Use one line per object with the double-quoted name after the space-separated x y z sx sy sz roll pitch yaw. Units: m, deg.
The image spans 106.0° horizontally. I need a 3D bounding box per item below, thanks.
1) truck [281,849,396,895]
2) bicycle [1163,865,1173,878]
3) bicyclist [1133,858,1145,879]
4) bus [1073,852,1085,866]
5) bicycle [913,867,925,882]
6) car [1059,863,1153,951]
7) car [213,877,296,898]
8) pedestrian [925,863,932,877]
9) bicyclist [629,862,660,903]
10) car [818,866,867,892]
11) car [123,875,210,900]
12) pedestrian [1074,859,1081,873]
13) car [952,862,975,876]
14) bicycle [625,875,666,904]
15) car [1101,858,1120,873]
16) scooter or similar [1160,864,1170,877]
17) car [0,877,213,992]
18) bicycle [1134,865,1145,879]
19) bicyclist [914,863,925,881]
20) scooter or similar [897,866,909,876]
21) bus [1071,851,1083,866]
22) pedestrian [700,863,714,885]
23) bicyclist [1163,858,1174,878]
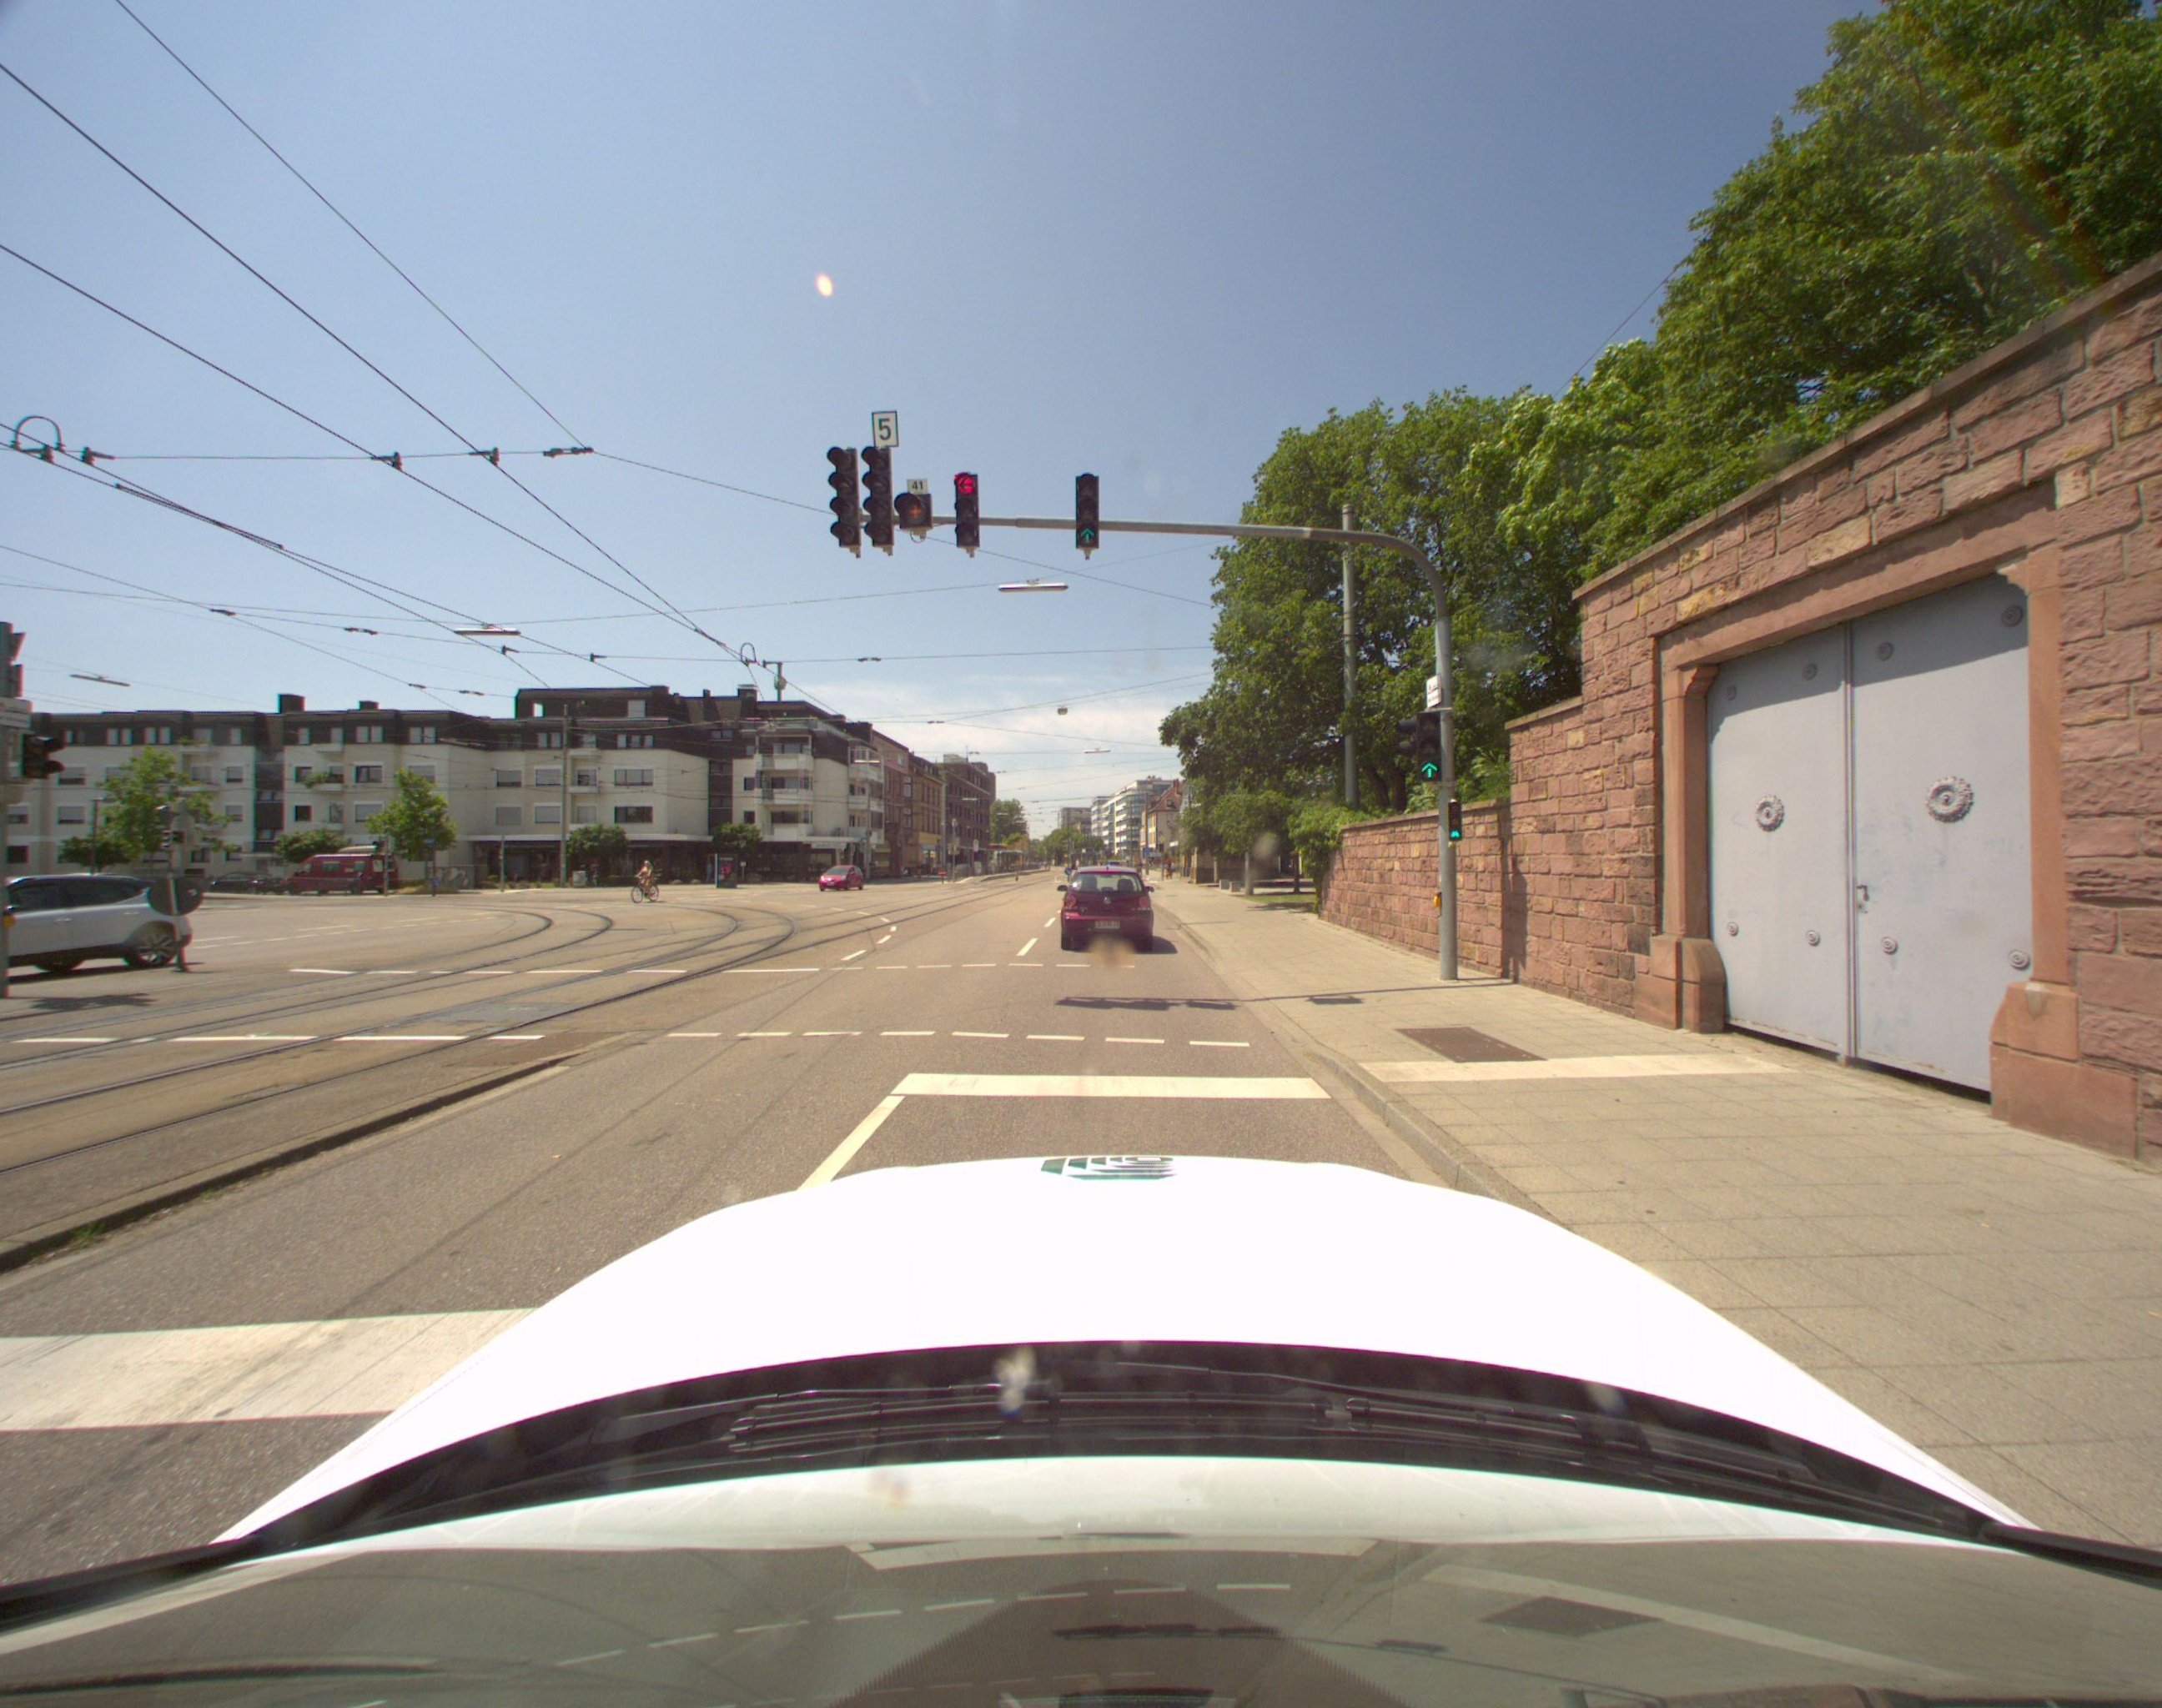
-44.968 1.079 49.377 5.006 2.698 2.188 -1 -1 2 "truck"
7.678 1.544 71.987 0.665 1.002 1.865 -4 0 2 "bicycle"
5.013 1.234 70.147 0.721 1.760 0.928 -1 -1 21 "bicyclist"
-0.463 1.030 176.733 2.224 3.003 6.596 -1 -1 2 "bus"
-15.562 1.966 78.374 0.674 1.304 2.104 -1 0 0 "bicycle"
0.465 0.897 15.126 1.555 1.453 3.062 -1 -1 1 "car"
-50.712 2.036 50.014 3.555 1.219 1.591 -1 -1 2 "car"
-17.041 1.752 91.137 0.612 1.560 0.640 -1 -1 1 "pedestrian"
-18.931 1.223 35.336 0.692 1.765 1.137 -1 0 1 "bicyclist"
-14.479 1.482 49.589 1.617 1.484 3.833 -1 -1 4 "car"
-55.457 2.015 49.398 3.555 1.433 1.591 -1 -1 2 "car"
-0.408 1.389 97.905 0.760 1.674 1.101 0 -1 3 "pedestrian"
-12.459 1.588 86.433 1.702 1.439 3.868 -1 0 3 "car"
-18.929 1.526 35.416 0.692 1.149 1.932 -1 0 1 "bicycle"
3.402 1.334 93.352 1.985 1.624 4.636 -1 -1 4 "car"
8.113 1.581 78.674 0.340 1.178 1.457 0 -1 -22 "scooter or similar"
-16.030 1.168 11.978 1.985 1.553 4.142 -1 -1 2 "car"
5.030 1.527 70.021 0.372 1.197 1.915 -1 0 21 "bicycle"
-15.561 1.726 78.472 0.730 1.762 1.134 -1 -1 0 "bicyclist"
-19.059 1.789 87.232 0.484 1.082 1.584 -1 0 19 "scooter or similar"
-0.799 0.925 170.163 2.136 3.003 6.576 -1 -1 2 "bus"
-28.813 1.530 62.776 0.697 1.697 0.807 -1 -1 0 "pedestrian"
7.747 1.236 71.913 0.829 1.618 0.860 -4 0 2 "bicyclist"
